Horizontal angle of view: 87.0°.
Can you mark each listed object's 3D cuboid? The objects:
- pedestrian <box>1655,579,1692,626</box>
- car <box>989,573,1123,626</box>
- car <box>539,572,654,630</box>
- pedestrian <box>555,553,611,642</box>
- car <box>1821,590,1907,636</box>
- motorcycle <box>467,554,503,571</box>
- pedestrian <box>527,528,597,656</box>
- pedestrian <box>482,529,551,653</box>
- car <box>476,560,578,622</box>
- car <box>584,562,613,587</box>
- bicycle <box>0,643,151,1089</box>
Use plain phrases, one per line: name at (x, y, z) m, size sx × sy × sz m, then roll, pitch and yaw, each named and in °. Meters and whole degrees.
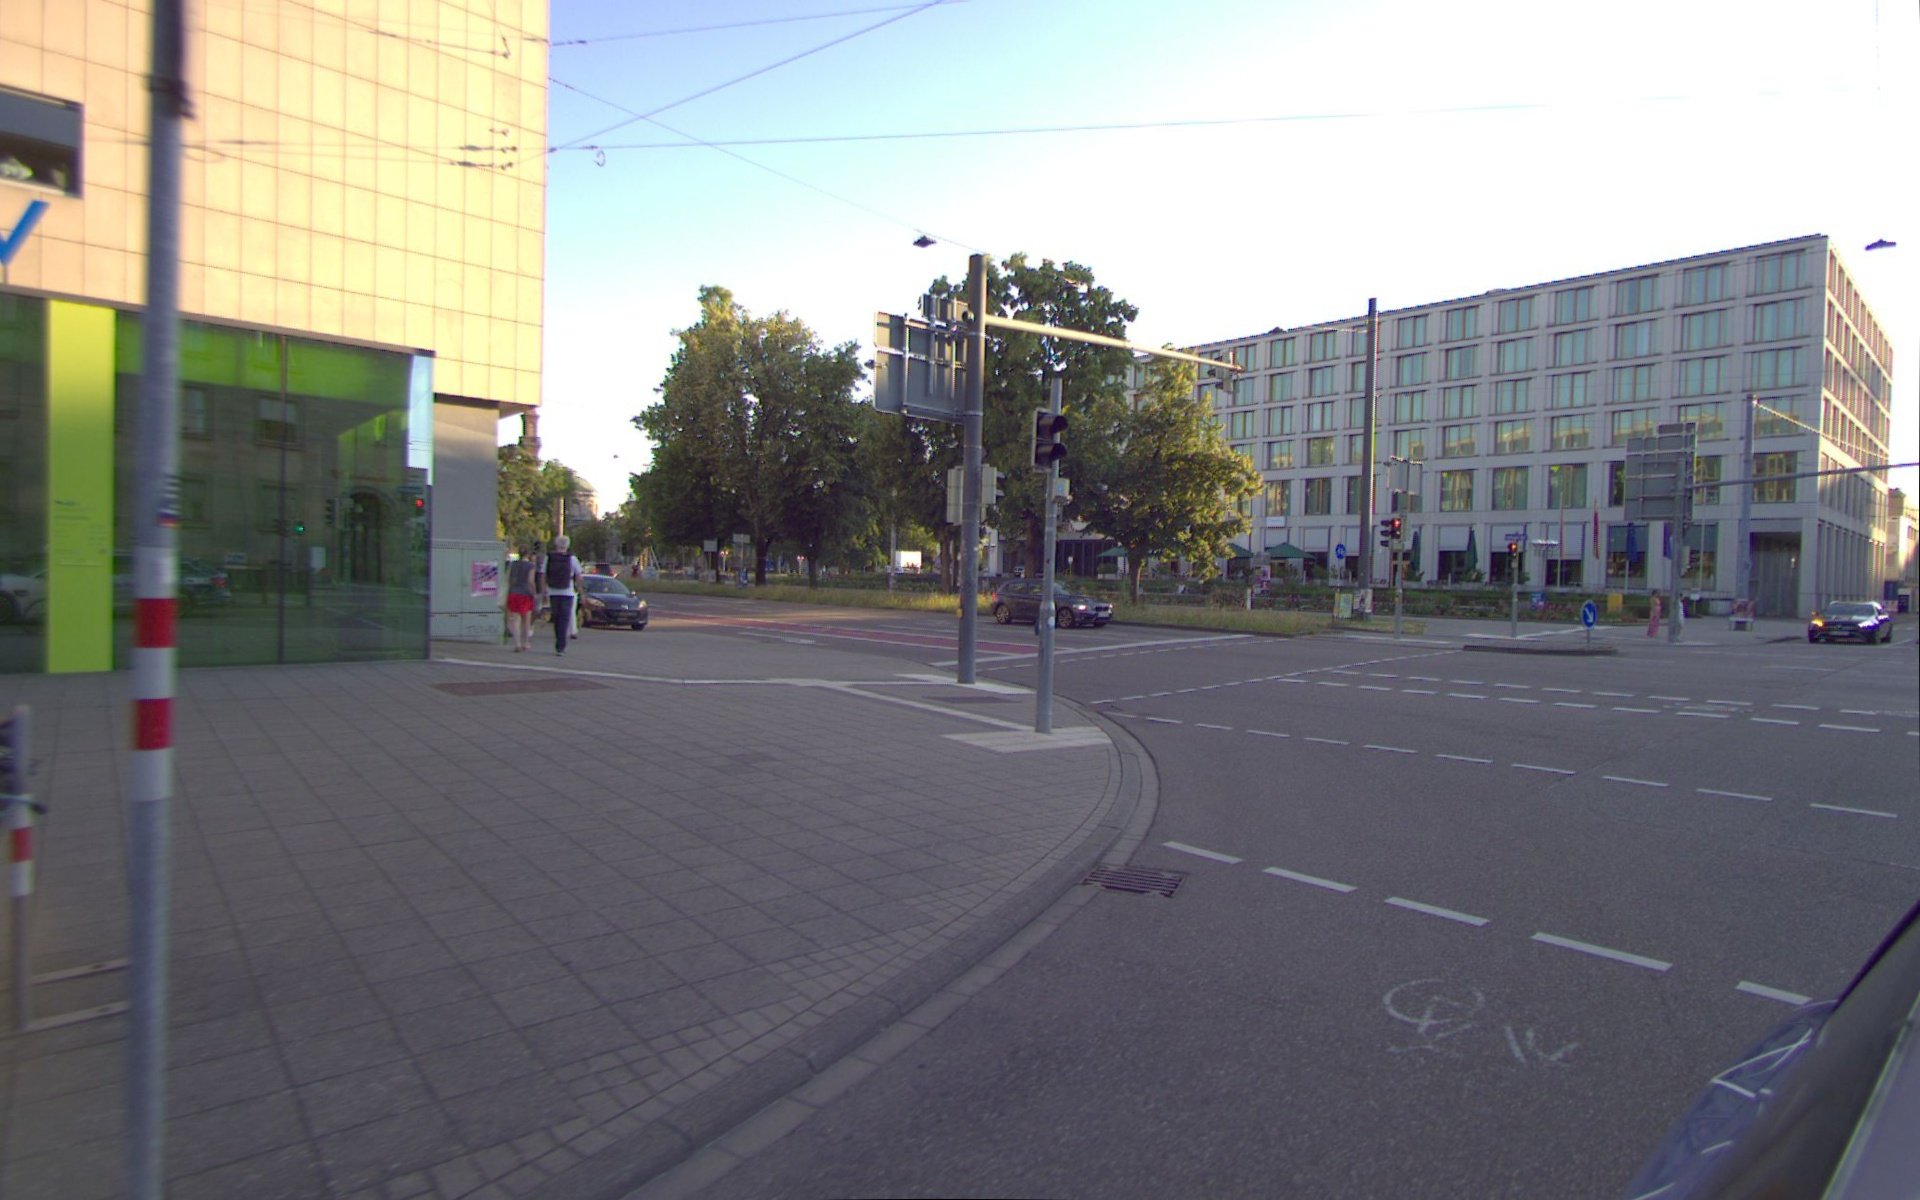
pedestrian at (25.245, 0.079, 35.839) m, size 0.711 × 1.646 × 0.740 m, roll 1°, pitch 1°, yaw -9°
car at (2.891, -0.056, 31.253) m, size 1.668 × 1.438 × 4.169 m, roll 0°, pitch 2°, yaw -40°
car at (-10.131, -0.002, 28.035) m, size 1.669 × 1.428 × 3.862 m, roll 1°, pitch 1°, yaw -42°
pedestrian at (-7.835, -0.063, 21.027) m, size 0.783 × 1.790 × 0.830 m, roll 2°, pitch 1°, yaw 44°
car at (32.342, 0.444, 36.155) m, size 4.728 × 1.542 × 1.813 m, roll 0°, pitch 0°, yaw -42°
motorcycle at (-52.487, -4.162, 111.871) m, size 3.435 × 1.776 × 0.925 m, roll 0°, pitch 2°, yaw -39°
pedestrian at (-5.781, -0.125, 14.692) m, size 0.722 × 1.790 × 0.707 m, roll 0°, pitch 1°, yaw -41°
pedestrian at (-6.585, -0.141, 15.024) m, size 0.734 × 1.790 × 0.707 m, roll 0°, pitch 1°, yaw -41°
car at (-13.356, -0.298, 31.123) m, size 1.669 × 1.686 × 3.862 m, roll 5°, pitch -1°, yaw -42°
car at (-27.169, -1.879, 75.977) m, size 1.663 × 1.625 × 4.097 m, roll 7°, pitch -3°, yaw -23°
bicycle at (-2.944, 0.729, 2.732) m, size 0.728 × 1.088 × 1.870 m, roll 1°, pitch 1°, yaw -24°
